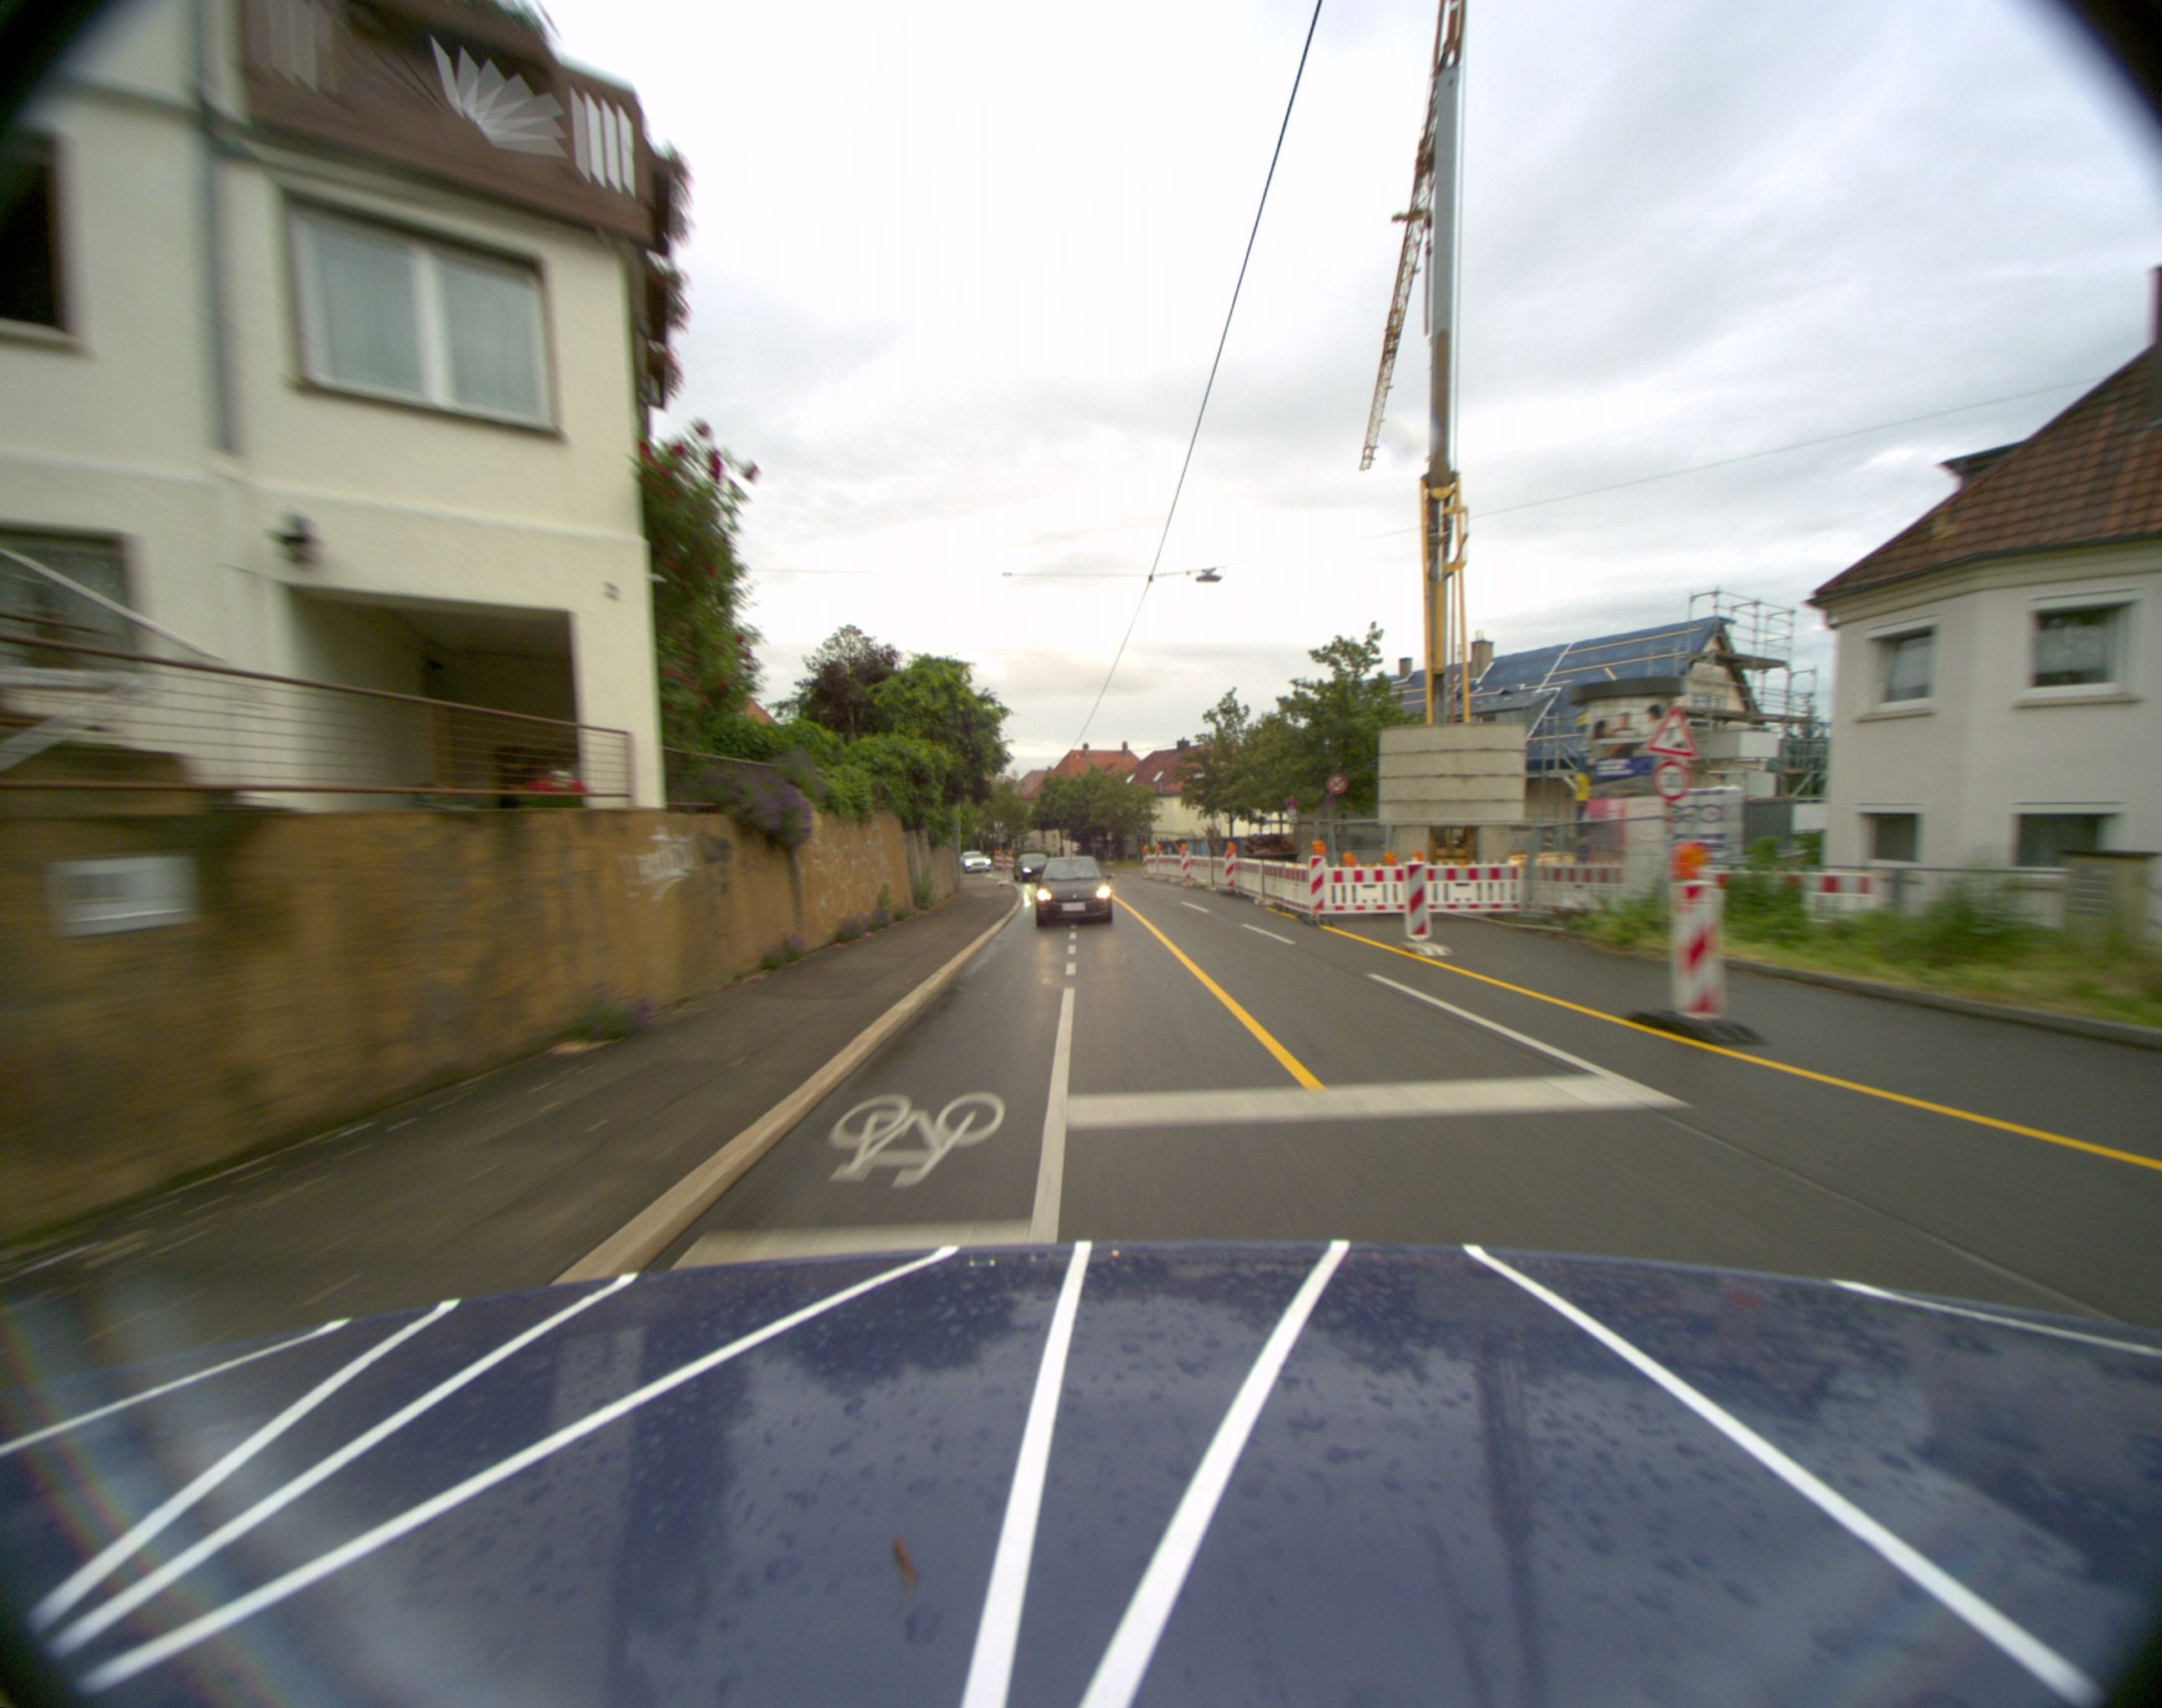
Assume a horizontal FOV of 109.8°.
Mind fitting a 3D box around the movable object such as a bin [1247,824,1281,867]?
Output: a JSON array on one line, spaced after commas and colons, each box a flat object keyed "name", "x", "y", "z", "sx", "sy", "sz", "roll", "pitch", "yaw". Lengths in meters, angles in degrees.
[{"name": "movable object such as a bin", "x": 10.749, "y": -0.498, "z": 44.698, "sx": 1.318, "sy": 2.491, "sz": 1.383, "roll": -3, "pitch": 2, "yaw": -24}]

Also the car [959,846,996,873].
[{"name": "car", "x": -8.125, "y": 0.397, "z": 59.345, "sx": 2.020, "sy": 1.729, "sz": 4.590, "roll": -7, "pitch": 4, "yaw": -17}]

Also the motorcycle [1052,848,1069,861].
[{"name": "motorcycle", "x": -2.126, "y": 0.088, "z": 78.177, "sx": 0.735, "sy": 1.241, "sz": 1.964, "roll": -6, "pitch": 2, "yaw": -32}]

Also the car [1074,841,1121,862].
[{"name": "car", "x": 1.598, "y": -0.249, "z": 73.614, "sx": 3.956, "sy": 1.535, "sz": 1.859, "roll": -8, "pitch": 4, "yaw": -27}]

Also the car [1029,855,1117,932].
[{"name": "car", "x": -0.202, "y": 0.813, "z": 17.793, "sx": 1.746, "sy": 1.434, "sz": 4.358, "roll": -3, "pitch": 1, "yaw": -1}]
